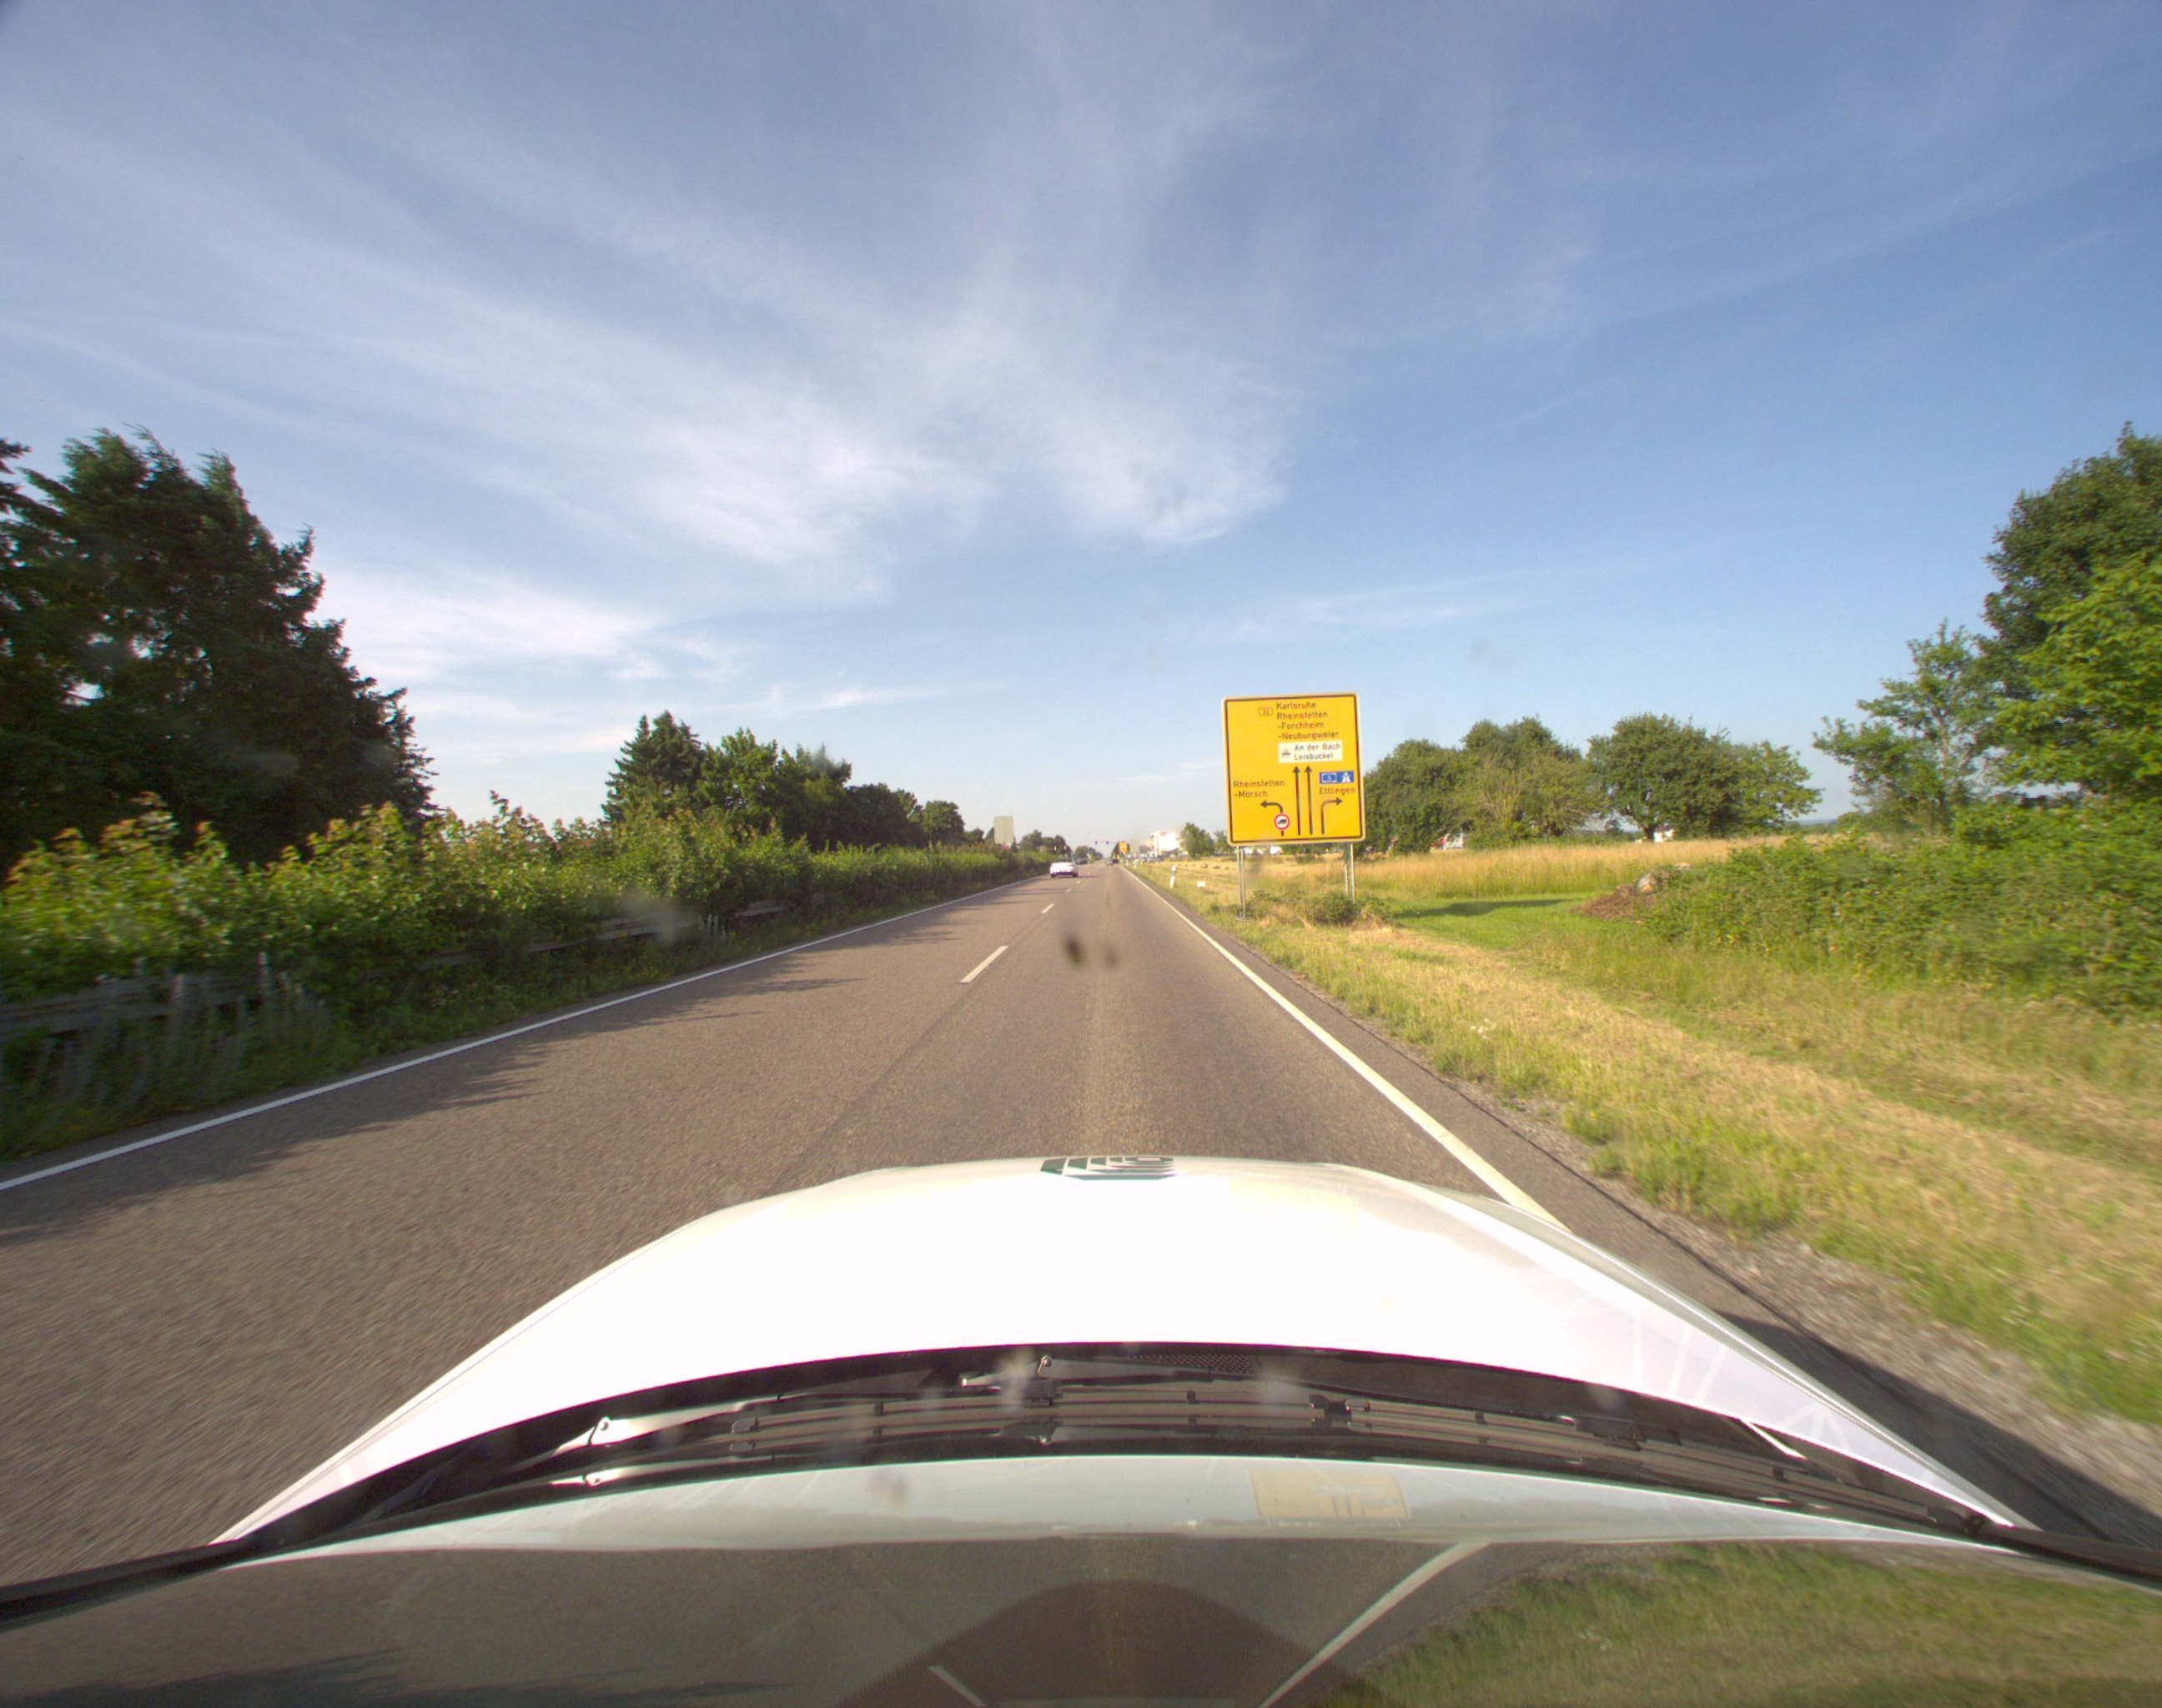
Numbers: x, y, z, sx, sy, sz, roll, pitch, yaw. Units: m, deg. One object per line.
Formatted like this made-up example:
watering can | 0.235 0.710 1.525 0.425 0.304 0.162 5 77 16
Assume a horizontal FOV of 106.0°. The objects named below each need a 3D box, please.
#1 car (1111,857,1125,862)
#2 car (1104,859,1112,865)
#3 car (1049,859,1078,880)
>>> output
car | 11.420 1.588 250.288 3.998 1.408 1.942 -1 0 -18
car | 7.178 2.141 217.134 1.986 1.486 4.001 -1 0 1
car | -1.232 1.110 58.735 1.903 1.422 4.001 -1 0 1
